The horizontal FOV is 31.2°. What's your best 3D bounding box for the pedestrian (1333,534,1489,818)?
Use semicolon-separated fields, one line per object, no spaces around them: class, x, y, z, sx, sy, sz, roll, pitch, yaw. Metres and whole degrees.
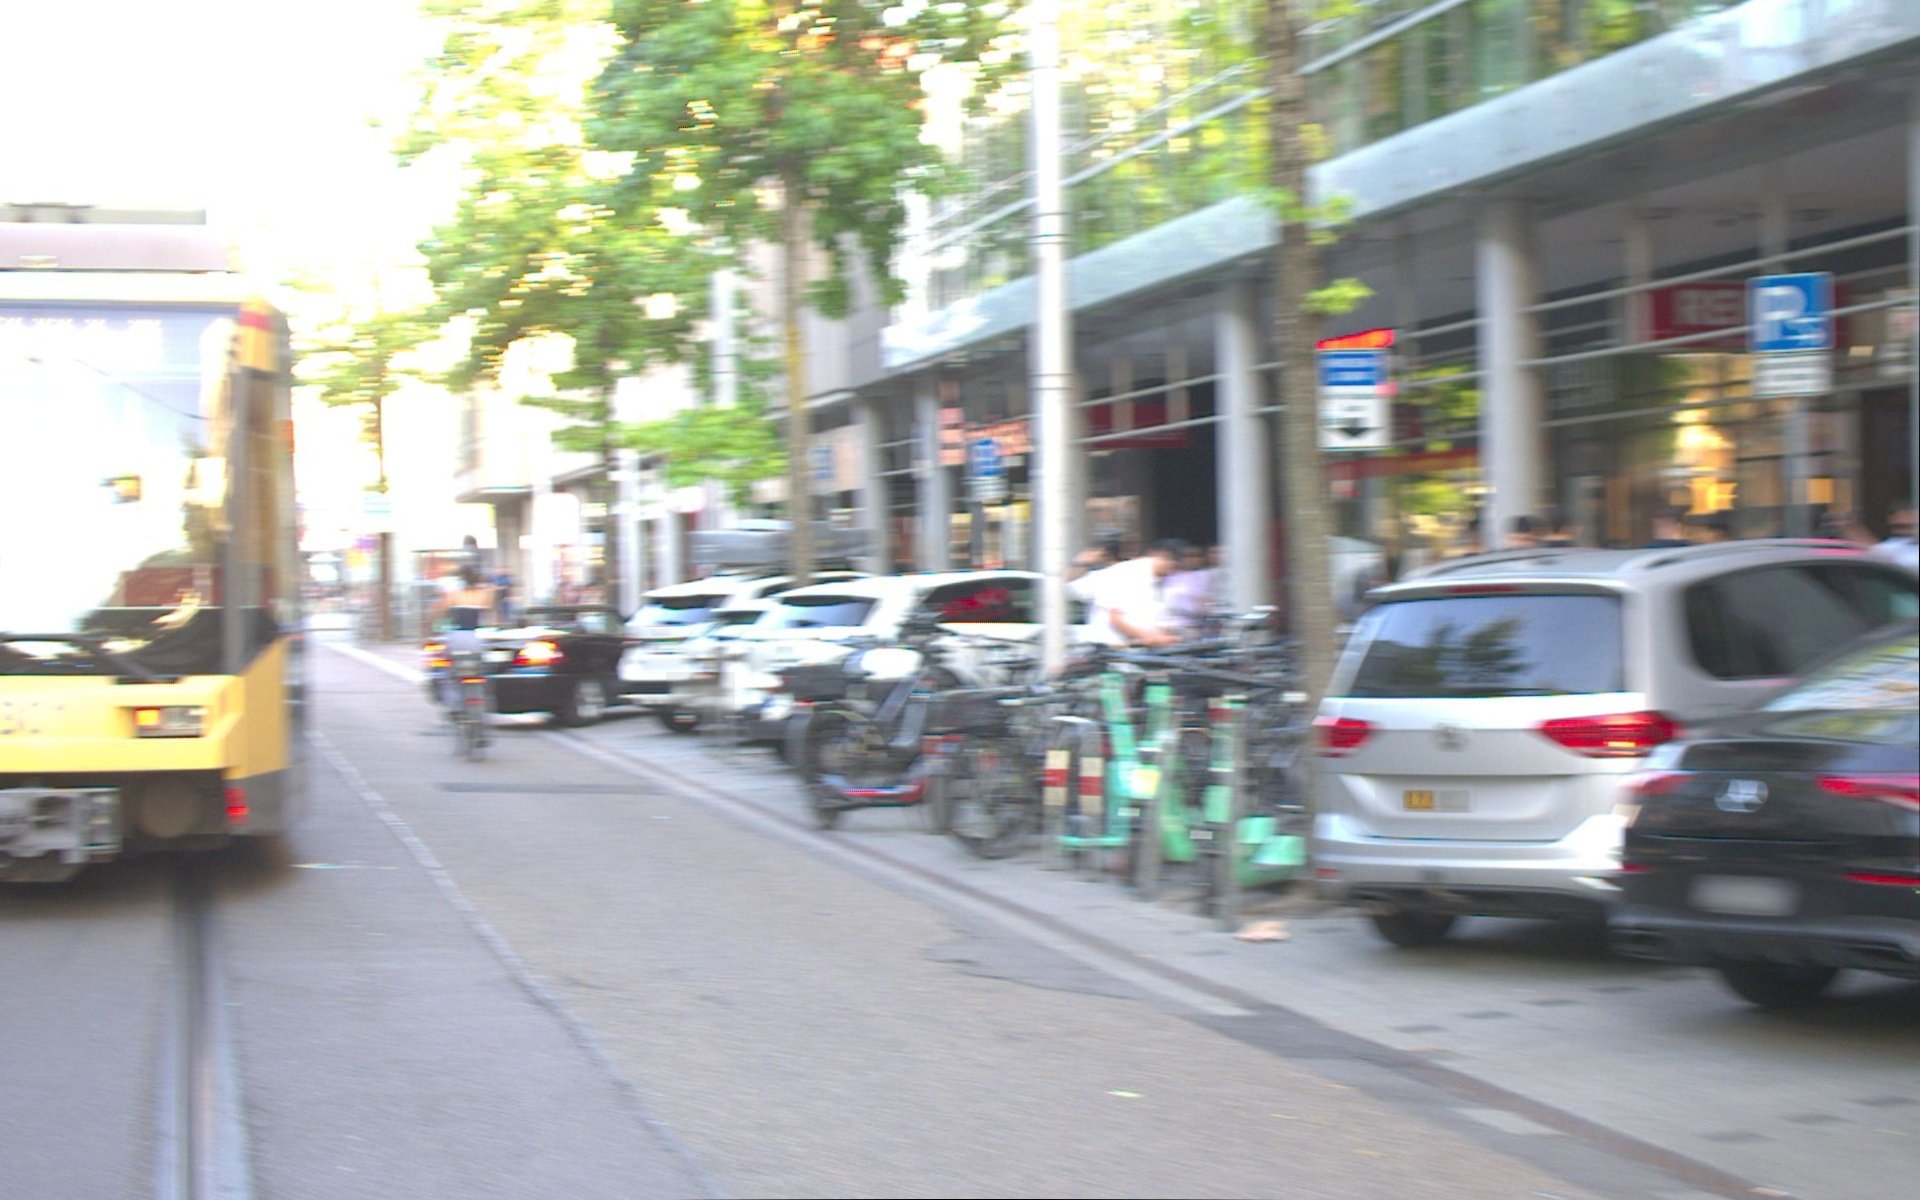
pedestrian;2.653;0.441;20.196;0.704;1.619;0.659;-2;1;22

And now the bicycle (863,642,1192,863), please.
bicycle;0.422;0.873;20.339;1.988;1.126;0.680;-4;2;-43

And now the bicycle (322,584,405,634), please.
bicycle;-17.604;0.277;101.417;2.328;1.467;0.791;0;-1;-16

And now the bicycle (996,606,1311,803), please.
bicycle;1.292;0.672;22.819;1.994;1.144;0.698;-4;2;-31

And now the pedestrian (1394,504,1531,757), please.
pedestrian;3.689;0.218;25.200;0.790;1.806;0.659;-2;1;22

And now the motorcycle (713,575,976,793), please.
motorcycle;-0.833;0.597;25.600;0.795;1.466;2.201;-1;2;33

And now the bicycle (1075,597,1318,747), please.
bicycle;1.927;0.573;27.931;1.744;1.113;0.935;-3;1;-37

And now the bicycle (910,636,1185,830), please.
bicycle;0.579;0.831;22.100;1.829;1.072;0.624;-5;3;-45

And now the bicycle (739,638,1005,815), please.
bicycle;-0.599;0.858;23.914;1.745;1.113;0.806;-3;1;-45

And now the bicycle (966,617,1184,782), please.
bicycle;0.852;0.714;25.113;1.592;1.030;0.553;-7;4;-42

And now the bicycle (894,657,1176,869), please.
bicycle;0.454;0.922;19.908;1.744;1.072;0.494;-4;2;-43

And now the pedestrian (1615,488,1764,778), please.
pedestrian;4.681;0.204;22.093;0.657;1.806;0.717;-3;1;-8

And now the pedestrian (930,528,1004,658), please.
pedestrian;0.100;-0.112;49.939;0.832;1.830;0.944;-2;2;-13

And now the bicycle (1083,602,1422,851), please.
bicycle;1.681;0.695;19.621;1.827;1.269;0.681;-4;2;-31

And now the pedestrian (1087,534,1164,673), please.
pedestrian;1.959;0.031;40.821;0.596;1.610;1.022;-3;2;-13

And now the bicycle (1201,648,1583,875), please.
bicycle;2.194;0.801;17.614;1.878;1.072;0.629;-1;2;42

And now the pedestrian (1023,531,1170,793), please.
pedestrian;0.984;0.433;24.720;0.600;1.806;0.817;-1;3;39

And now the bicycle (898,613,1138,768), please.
bicycle;0.470;0.697;27.030;0.918;1.113;1.745;-2;1;43

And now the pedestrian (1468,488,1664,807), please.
pedestrian;3.566;0.267;20.182;0.885;1.806;0.936;-2;1;22

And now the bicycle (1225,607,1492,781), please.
bicycle;2.758;0.625;23.670;1.828;1.090;0.824;-3;1;-44

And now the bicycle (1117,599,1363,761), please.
bicycle;2.148;0.597;26.246;1.786;1.113;0.844;-3;1;-42

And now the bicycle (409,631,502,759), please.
bicycle;-4.479;0.822;30.415;0.655;1.057;2.057;1;0;-12

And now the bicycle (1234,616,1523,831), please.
bicycle;2.509;0.720;20.552;1.690;1.145;0.502;-3;2;-28

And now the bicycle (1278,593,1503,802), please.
bicycle;2.735;0.595;21.718;0.554;1.185;1.692;-1;2;39

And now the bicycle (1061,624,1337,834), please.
bicycle;1.465;0.764;20.914;1.681;1.135;0.478;-4;2;-33

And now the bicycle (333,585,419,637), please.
bicycle;-16.547;0.305;97.460;2.328;1.467;0.791;0;-1;-16

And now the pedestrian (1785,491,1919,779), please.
pedestrian;5.040;0.192;19.192;0.761;1.566;0.631;-1;0;10

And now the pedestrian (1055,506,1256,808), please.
pedestrian;1.295;0.357;22.869;0.949;1.907;0.863;-4;2;-24

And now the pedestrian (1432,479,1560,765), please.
pedestrian;3.491;0.135;22.351;0.658;1.806;0.716;-2;1;17

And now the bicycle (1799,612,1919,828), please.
bicycle;5.034;0.637;19.057;0.572;1.079;1.883;-2;1;10
